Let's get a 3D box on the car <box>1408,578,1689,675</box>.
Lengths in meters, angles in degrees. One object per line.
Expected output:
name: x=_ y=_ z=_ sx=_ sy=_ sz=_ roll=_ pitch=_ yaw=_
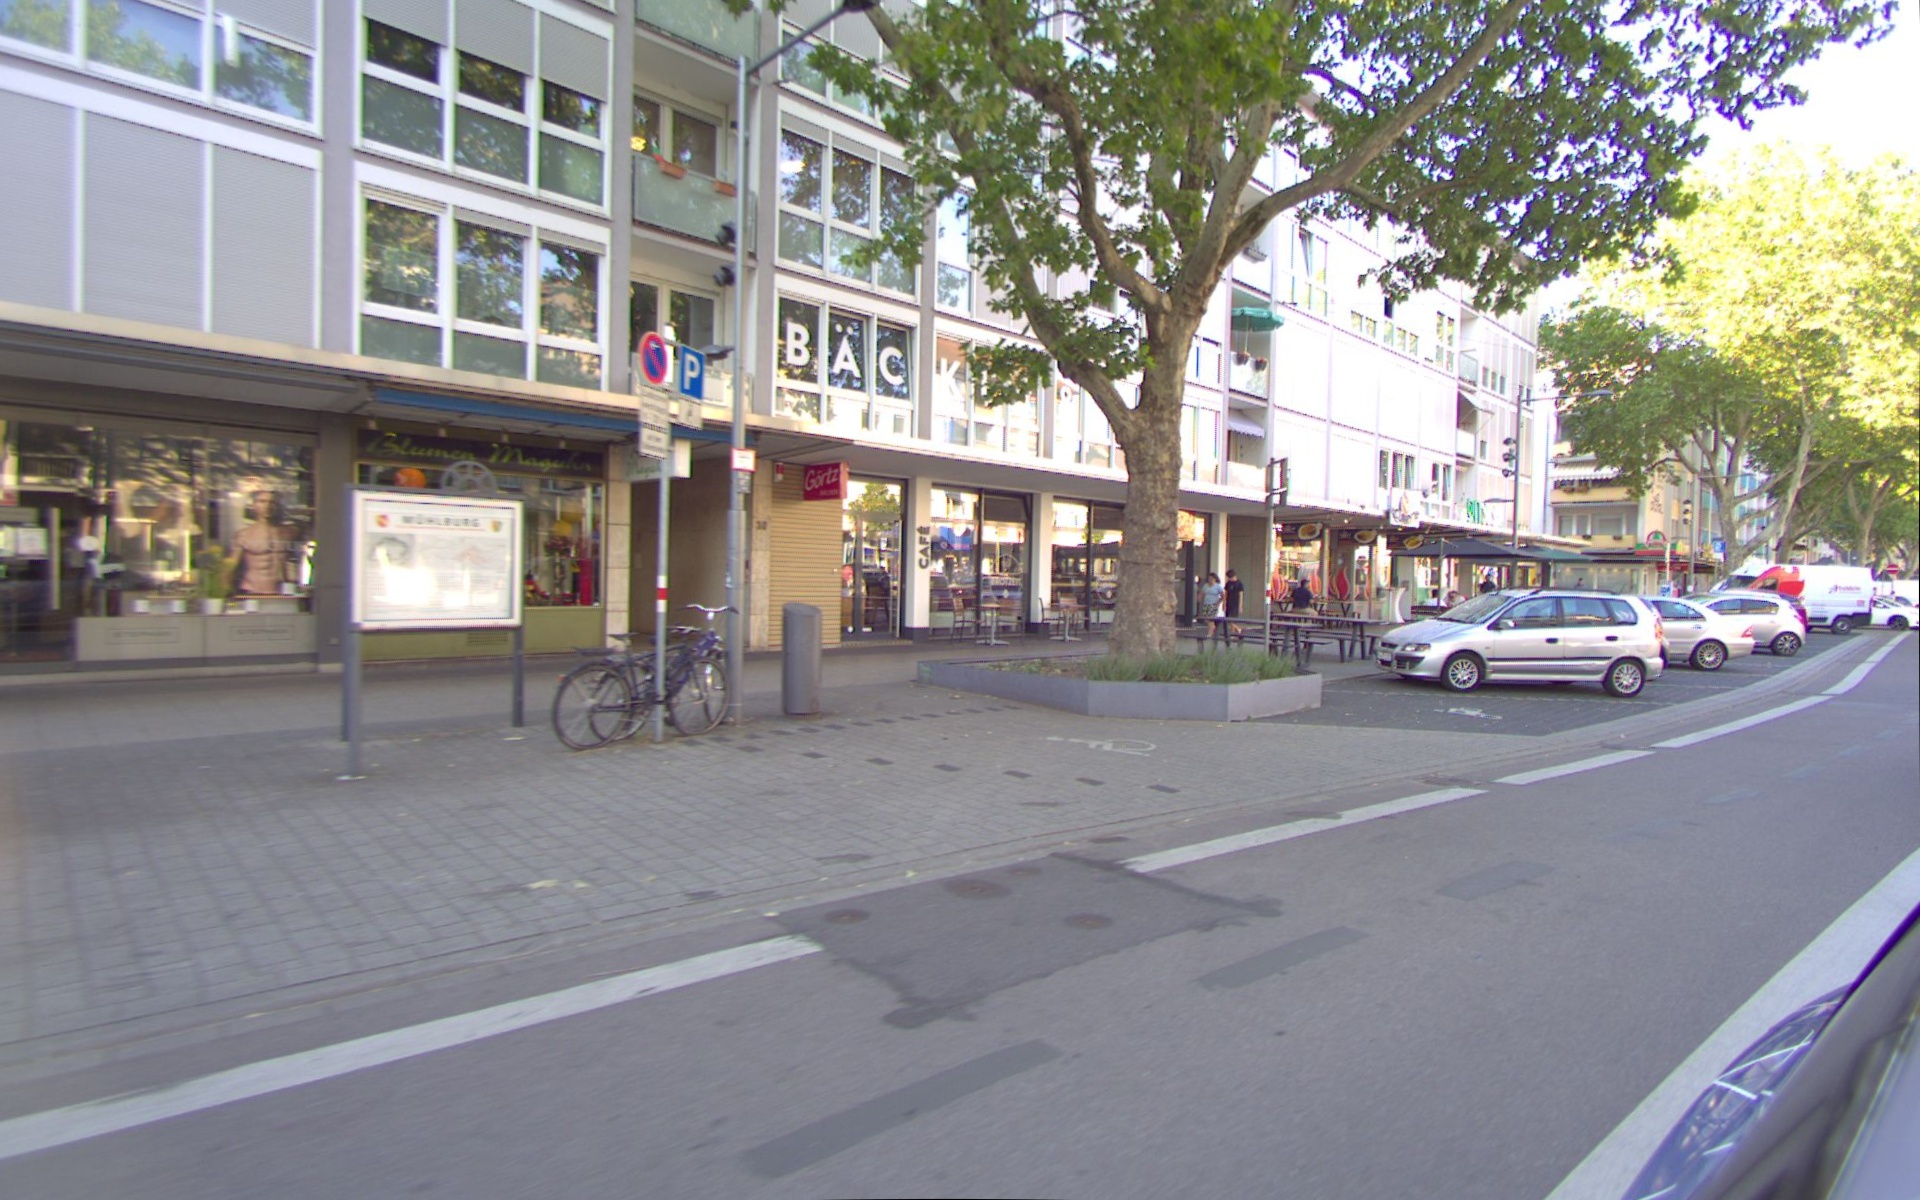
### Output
car: x=10.395 y=0.433 z=18.085 sx=3.922 sy=1.525 sz=1.811 roll=1 pitch=2 yaw=-2

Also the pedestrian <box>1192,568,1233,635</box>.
pedestrian: x=5.561 y=0.020 z=22.314 sx=0.676 sy=1.417 sz=0.537 roll=0 pitch=4 yaw=-45

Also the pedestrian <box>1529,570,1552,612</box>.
pedestrian: x=23.122 y=-0.359 z=40.311 sx=0.530 sy=1.610 sz=0.685 roll=3 pitch=3 yaw=12

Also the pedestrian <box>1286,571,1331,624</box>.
pedestrian: x=9.370 y=-0.064 z=27.190 sx=0.945 sy=1.379 sz=0.750 roll=0 pitch=2 yaw=-40

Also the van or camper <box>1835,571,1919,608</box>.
van or camper: x=64.093 y=-0.733 z=69.868 sx=5.364 sy=2.499 sz=1.999 roll=1 pitch=1 yaw=4

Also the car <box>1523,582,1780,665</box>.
car: x=13.873 y=0.442 z=20.488 sx=3.927 sy=1.453 sz=1.659 roll=2 pitch=3 yaw=3

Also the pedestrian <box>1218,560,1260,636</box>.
pedestrian: x=6.059 y=-0.053 z=21.967 sx=0.676 sy=1.610 sz=0.537 roll=0 pitch=4 yaw=-45

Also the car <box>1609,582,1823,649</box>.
car: x=18.887 y=0.350 z=25.441 sx=3.931 sy=1.453 sz=1.658 roll=2 pitch=3 yaw=6

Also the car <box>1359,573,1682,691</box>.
car: x=8.536 y=0.445 z=15.653 sx=3.922 sy=1.626 sz=1.811 roll=1 pitch=2 yaw=-2

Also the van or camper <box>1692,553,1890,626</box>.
van or camper: x=30.695 y=-0.415 z=37.552 sx=5.368 sy=2.499 sz=1.997 roll=1 pitch=1 yaw=6

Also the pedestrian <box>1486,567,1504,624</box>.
pedestrian: x=19.077 y=-0.163 z=36.083 sx=0.548 sy=2.039 sz=0.571 roll=0 pitch=0 yaw=32

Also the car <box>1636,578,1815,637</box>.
car: x=22.987 y=0.202 z=30.521 sx=3.931 sy=1.541 sz=1.658 roll=2 pitch=3 yaw=6

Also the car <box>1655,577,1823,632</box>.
car: x=25.175 y=0.119 z=32.804 sx=3.931 sy=1.582 sz=1.658 roll=2 pitch=3 yaw=6

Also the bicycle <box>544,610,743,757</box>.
bicycle: x=-2.568 y=0.640 z=8.397 sx=0.293 sy=1.053 sz=1.696 roll=6 pitch=4 yaw=36

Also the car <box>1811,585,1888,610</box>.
car: x=55.412 y=-0.178 z=63.076 sx=3.272 sy=1.363 sz=1.530 roll=2 pitch=3 yaw=6

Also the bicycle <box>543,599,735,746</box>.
bicycle: x=-2.701 y=0.570 z=8.690 sx=0.293 sy=1.114 sz=1.696 roll=6 pitch=4 yaw=36
